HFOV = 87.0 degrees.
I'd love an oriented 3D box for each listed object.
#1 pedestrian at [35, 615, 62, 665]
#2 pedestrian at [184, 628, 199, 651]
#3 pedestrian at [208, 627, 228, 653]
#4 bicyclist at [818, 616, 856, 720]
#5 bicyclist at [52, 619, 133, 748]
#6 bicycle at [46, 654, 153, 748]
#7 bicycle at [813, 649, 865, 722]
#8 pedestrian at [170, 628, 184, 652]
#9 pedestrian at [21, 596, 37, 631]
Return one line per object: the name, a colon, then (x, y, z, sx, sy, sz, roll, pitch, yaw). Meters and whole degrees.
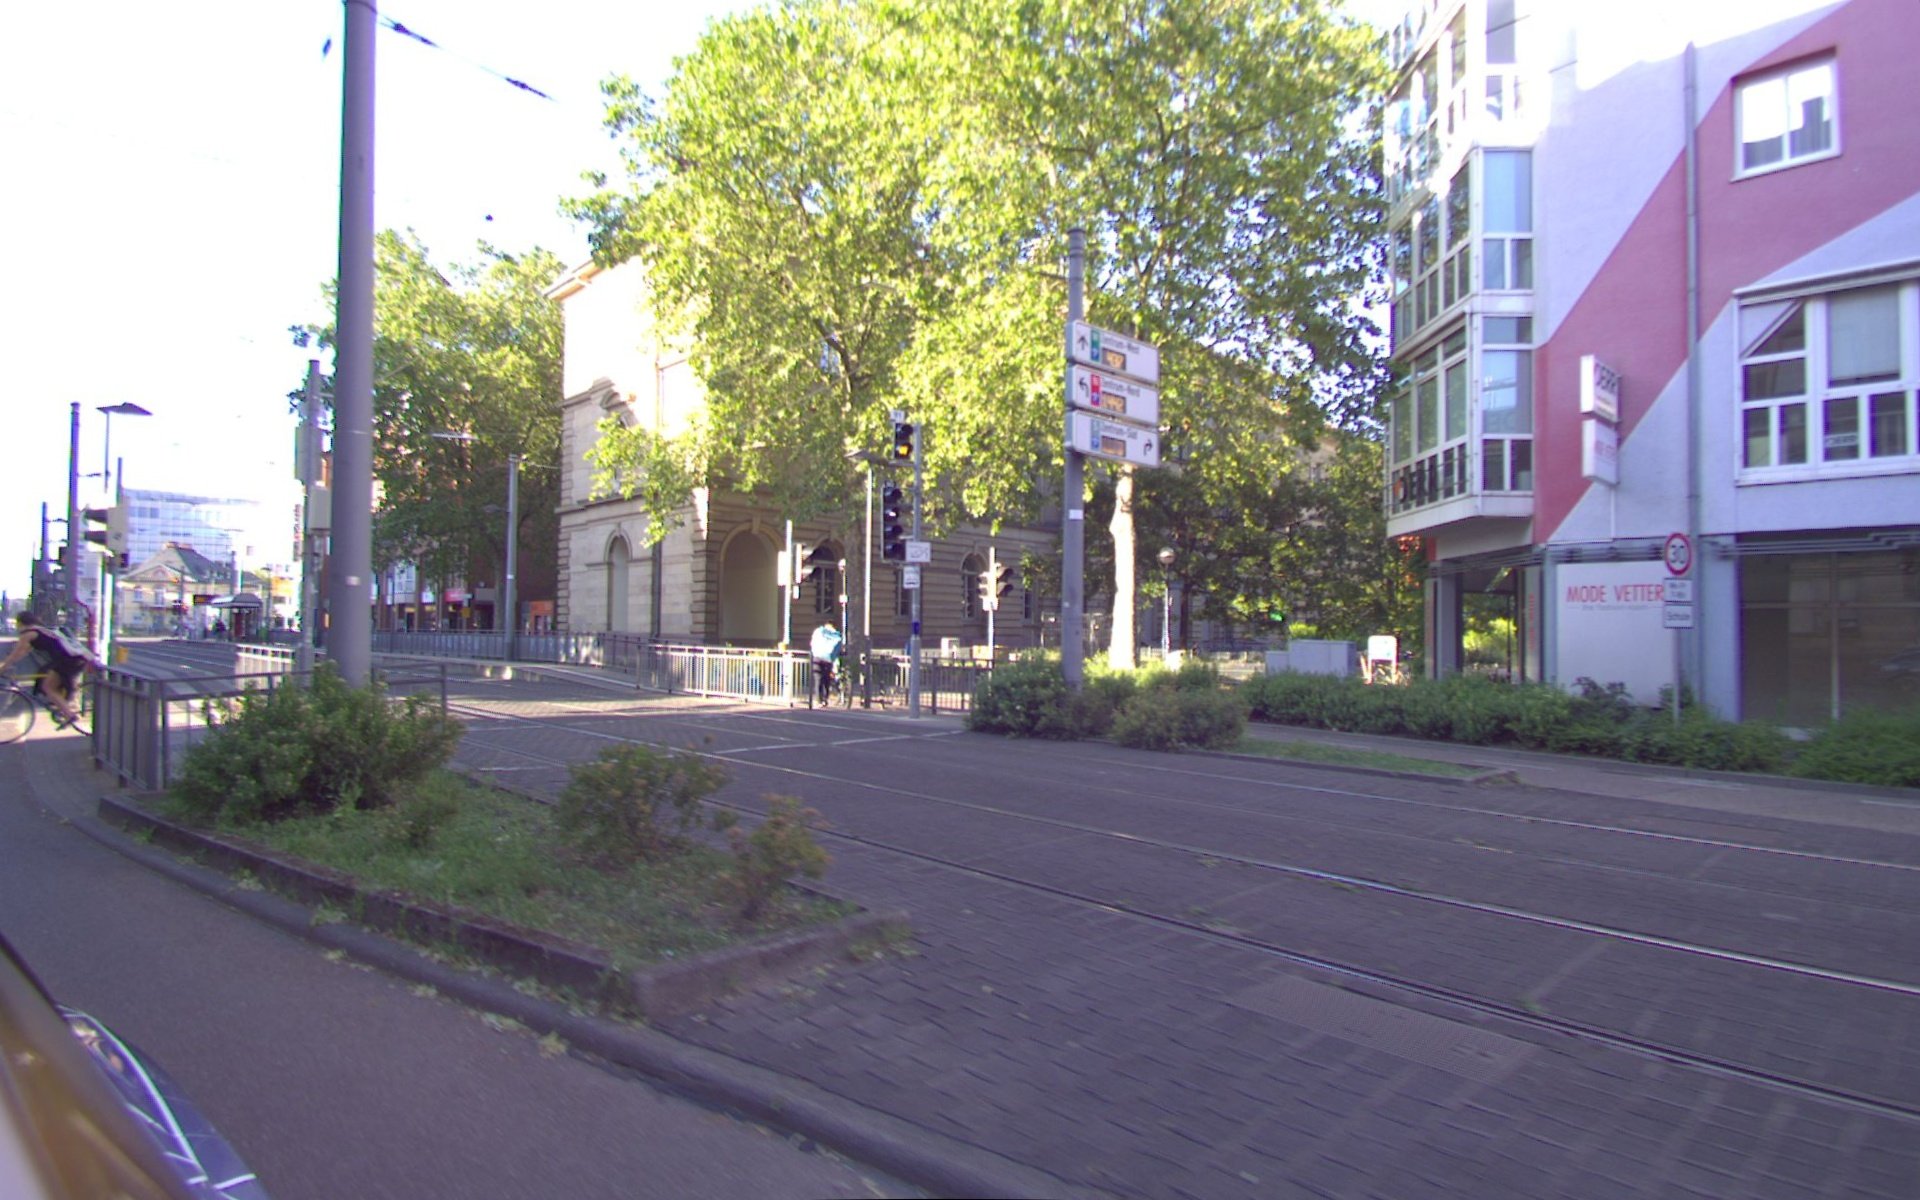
pedestrian: (-31.712, 1.381, 35.212, 0.615, 1.725, 0.850, 2, -3, -44)
pedestrian: (-60.426, 3.096, 79.571, 0.847, 1.780, 0.813, -1, -1, -36)
pedestrian: (-49.004, 2.640, 66.879, 0.900, 1.674, 0.968, 2, -3, -44)
bicyclist: (-2.076, 1.139, 17.125, 0.526, 1.725, 0.745, 0, -2, 1)
bicyclist: (-11.060, 1.046, 12.904, 0.742, 1.590, 0.528, -1, -3, 30)
bicycle: (-11.044, 1.263, 12.968, 1.895, 1.086, 0.577, -2, 0, 35)
bicycle: (-2.071, 1.438, 17.465, 0.576, 1.086, 1.898, -1, 0, 2)
pedestrian: (-61.202, 3.111, 79.093, 0.847, 1.780, 0.813, -1, -1, -37)
pedestrian: (-48.746, 0.715, 52.983, 0.606, 1.805, 0.576, -2, -3, 45)
